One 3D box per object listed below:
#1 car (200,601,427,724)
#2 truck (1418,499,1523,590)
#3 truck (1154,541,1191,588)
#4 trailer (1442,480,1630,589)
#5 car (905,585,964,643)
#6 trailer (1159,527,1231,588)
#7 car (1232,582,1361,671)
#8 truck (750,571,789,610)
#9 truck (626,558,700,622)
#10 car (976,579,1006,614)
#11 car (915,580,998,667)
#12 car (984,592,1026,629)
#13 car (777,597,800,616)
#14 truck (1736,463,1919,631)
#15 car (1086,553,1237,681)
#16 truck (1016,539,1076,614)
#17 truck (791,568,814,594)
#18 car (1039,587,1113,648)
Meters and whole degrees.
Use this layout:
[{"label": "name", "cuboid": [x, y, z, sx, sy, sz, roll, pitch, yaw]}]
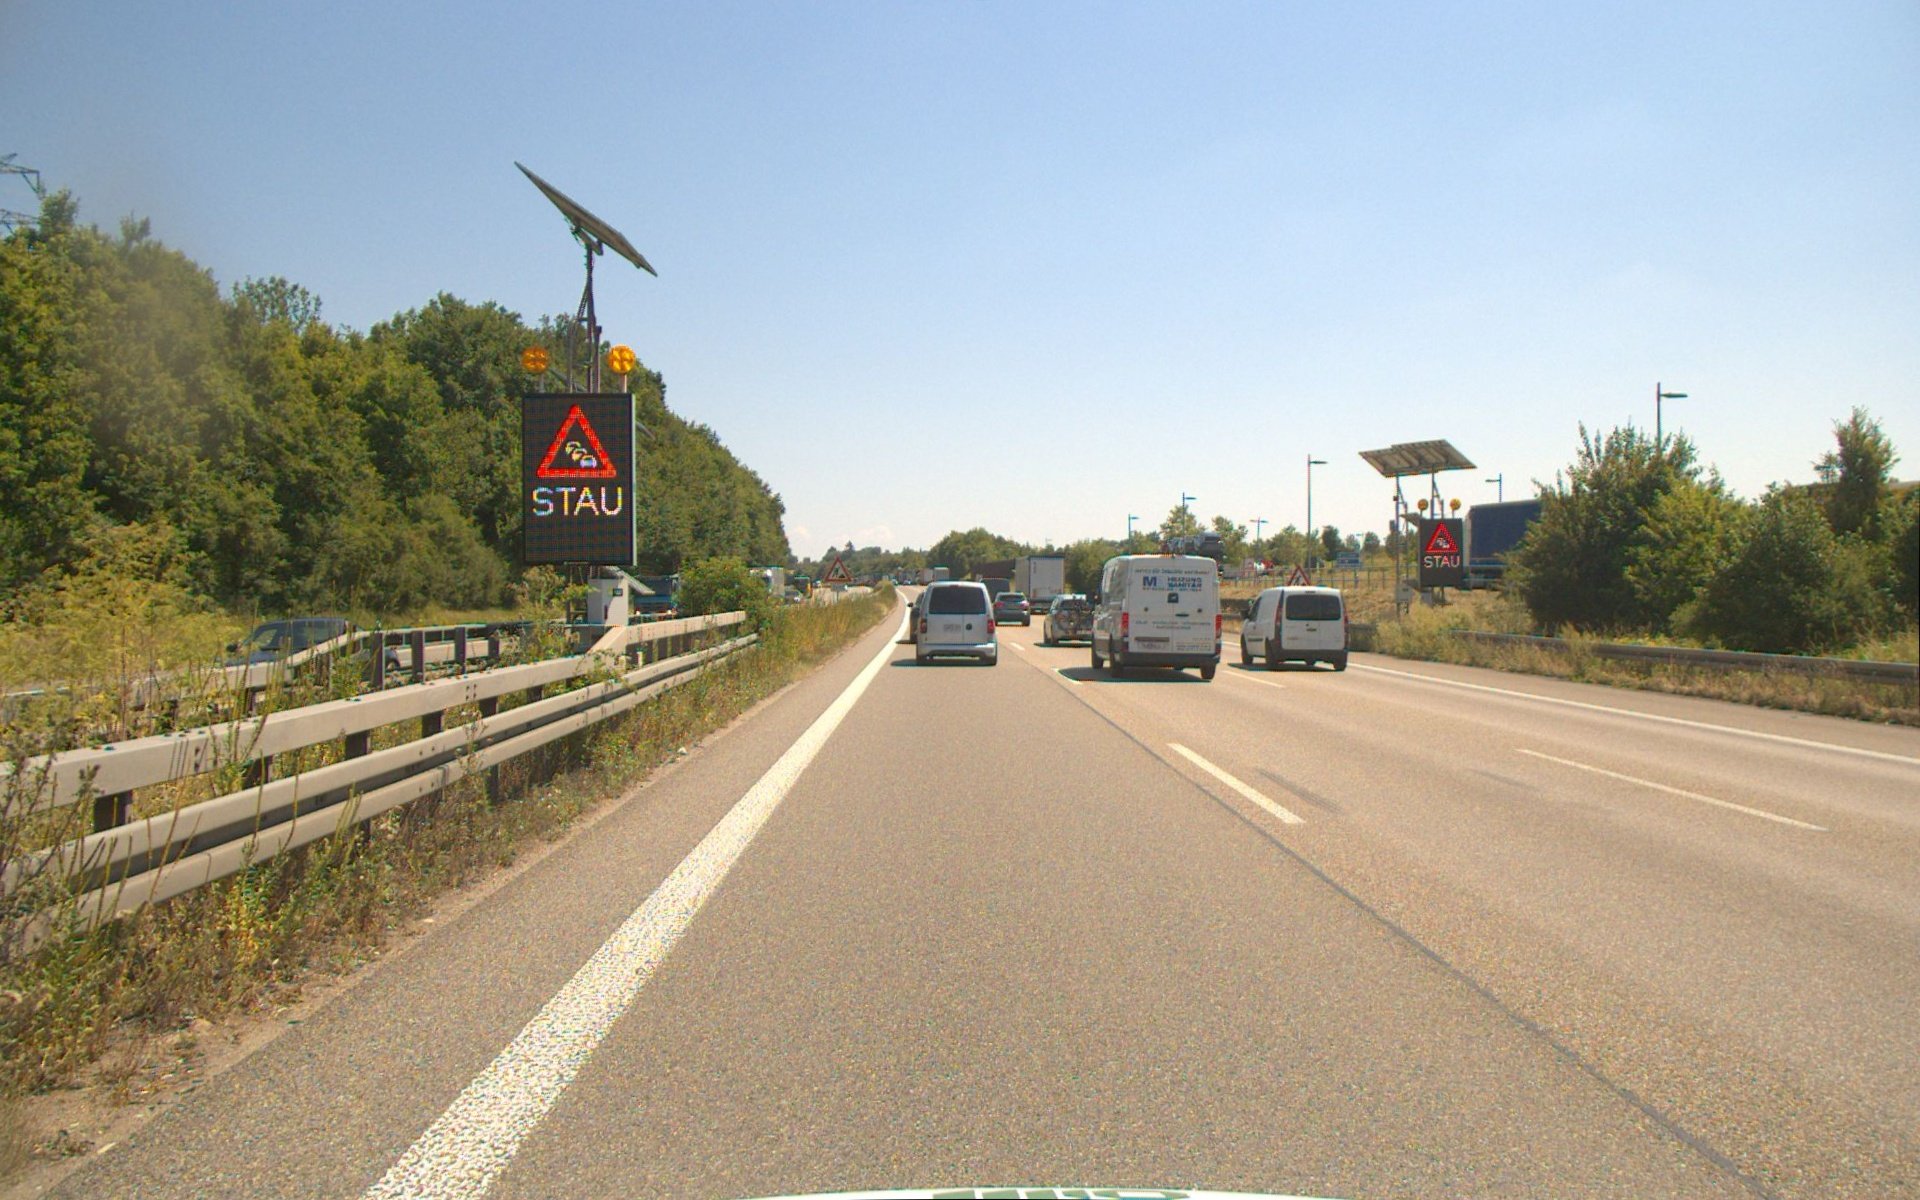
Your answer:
[{"label": "car", "cuboid": [-9.117, 0.817, 23.669, 1.689, 1.553, 3.999, -2, 0, -1]}, {"label": "truck", "cuboid": [24.761, -2.630, 80.567, 2.990, 4.154, 6.396, 1, 0, -1]}, {"label": "truck", "cuboid": [18.232, -3.028, 141.975, 2.549, 3.894, 3.999, 1, 0, -2]}, {"label": "trailer", "cuboid": [25.013, -2.647, 72.964, 2.990, 4.154, 14.253, 1, 0, -1]}, {"label": "car", "cuboid": [-0.758, 0.419, 51.766, 1.709, 1.731, 4.088, -1, 0, 0]}, {"label": "trailer", "cuboid": [18.495, -3.206, 131.628, 2.553, 4.332, 18.415, 1, 0, -2]}, {"label": "car", "cuboid": [7.525, 0.564, 37.398, 1.911, 1.870, 4.176, -1, 0, -2]}, {"label": "truck", "cuboid": [-20.414, -0.999, 177.926, 3.384, 4.064, 11.118, -1, 0, -3]}, {"label": "truck", "cuboid": [-18.857, -0.604, 105.717, 2.935, 3.868, 10.786, -1, 0, -1]}, {"label": "car", "cuboid": [1.806, -0.197, 96.970, 1.640, 1.925, 4.088, -1, 0, 0]}, {"label": "car", "cuboid": [-0.070, 0.506, 36.806, 1.709, 1.795, 4.088, -1, 0, 0]}, {"label": "car", "cuboid": [2.129, 0.474, 79.514, 1.863, 1.701, 4.088, -1, 0, 0]}, {"label": "car", "cuboid": [-15.966, 0.614, 154.271, 1.689, 1.685, 4.859, -2, 0, -2]}, {"label": "truck", "cuboid": [25.531, -1.257, 44.143, 3.711, 4.154, 12.517, 1, 0, 0]}, {"label": "car", "cuboid": [3.867, 0.315, 32.724, 2.138, 2.293, 5.361, 1, 0, -2]}, {"label": "truck", "cuboid": [6.136, -1.616, 120.190, 3.710, 5.087, 12.517, 1, 0, 0]}, {"label": "truck", "cuboid": [-23.849, -2.816, 250.560, 2.726, 3.804, 11.153, 1, 0, -2]}, {"label": "car", "cuboid": [3.477, 0.513, 50.320, 1.935, 1.763, 4.088, -1, 0, 0]}]
